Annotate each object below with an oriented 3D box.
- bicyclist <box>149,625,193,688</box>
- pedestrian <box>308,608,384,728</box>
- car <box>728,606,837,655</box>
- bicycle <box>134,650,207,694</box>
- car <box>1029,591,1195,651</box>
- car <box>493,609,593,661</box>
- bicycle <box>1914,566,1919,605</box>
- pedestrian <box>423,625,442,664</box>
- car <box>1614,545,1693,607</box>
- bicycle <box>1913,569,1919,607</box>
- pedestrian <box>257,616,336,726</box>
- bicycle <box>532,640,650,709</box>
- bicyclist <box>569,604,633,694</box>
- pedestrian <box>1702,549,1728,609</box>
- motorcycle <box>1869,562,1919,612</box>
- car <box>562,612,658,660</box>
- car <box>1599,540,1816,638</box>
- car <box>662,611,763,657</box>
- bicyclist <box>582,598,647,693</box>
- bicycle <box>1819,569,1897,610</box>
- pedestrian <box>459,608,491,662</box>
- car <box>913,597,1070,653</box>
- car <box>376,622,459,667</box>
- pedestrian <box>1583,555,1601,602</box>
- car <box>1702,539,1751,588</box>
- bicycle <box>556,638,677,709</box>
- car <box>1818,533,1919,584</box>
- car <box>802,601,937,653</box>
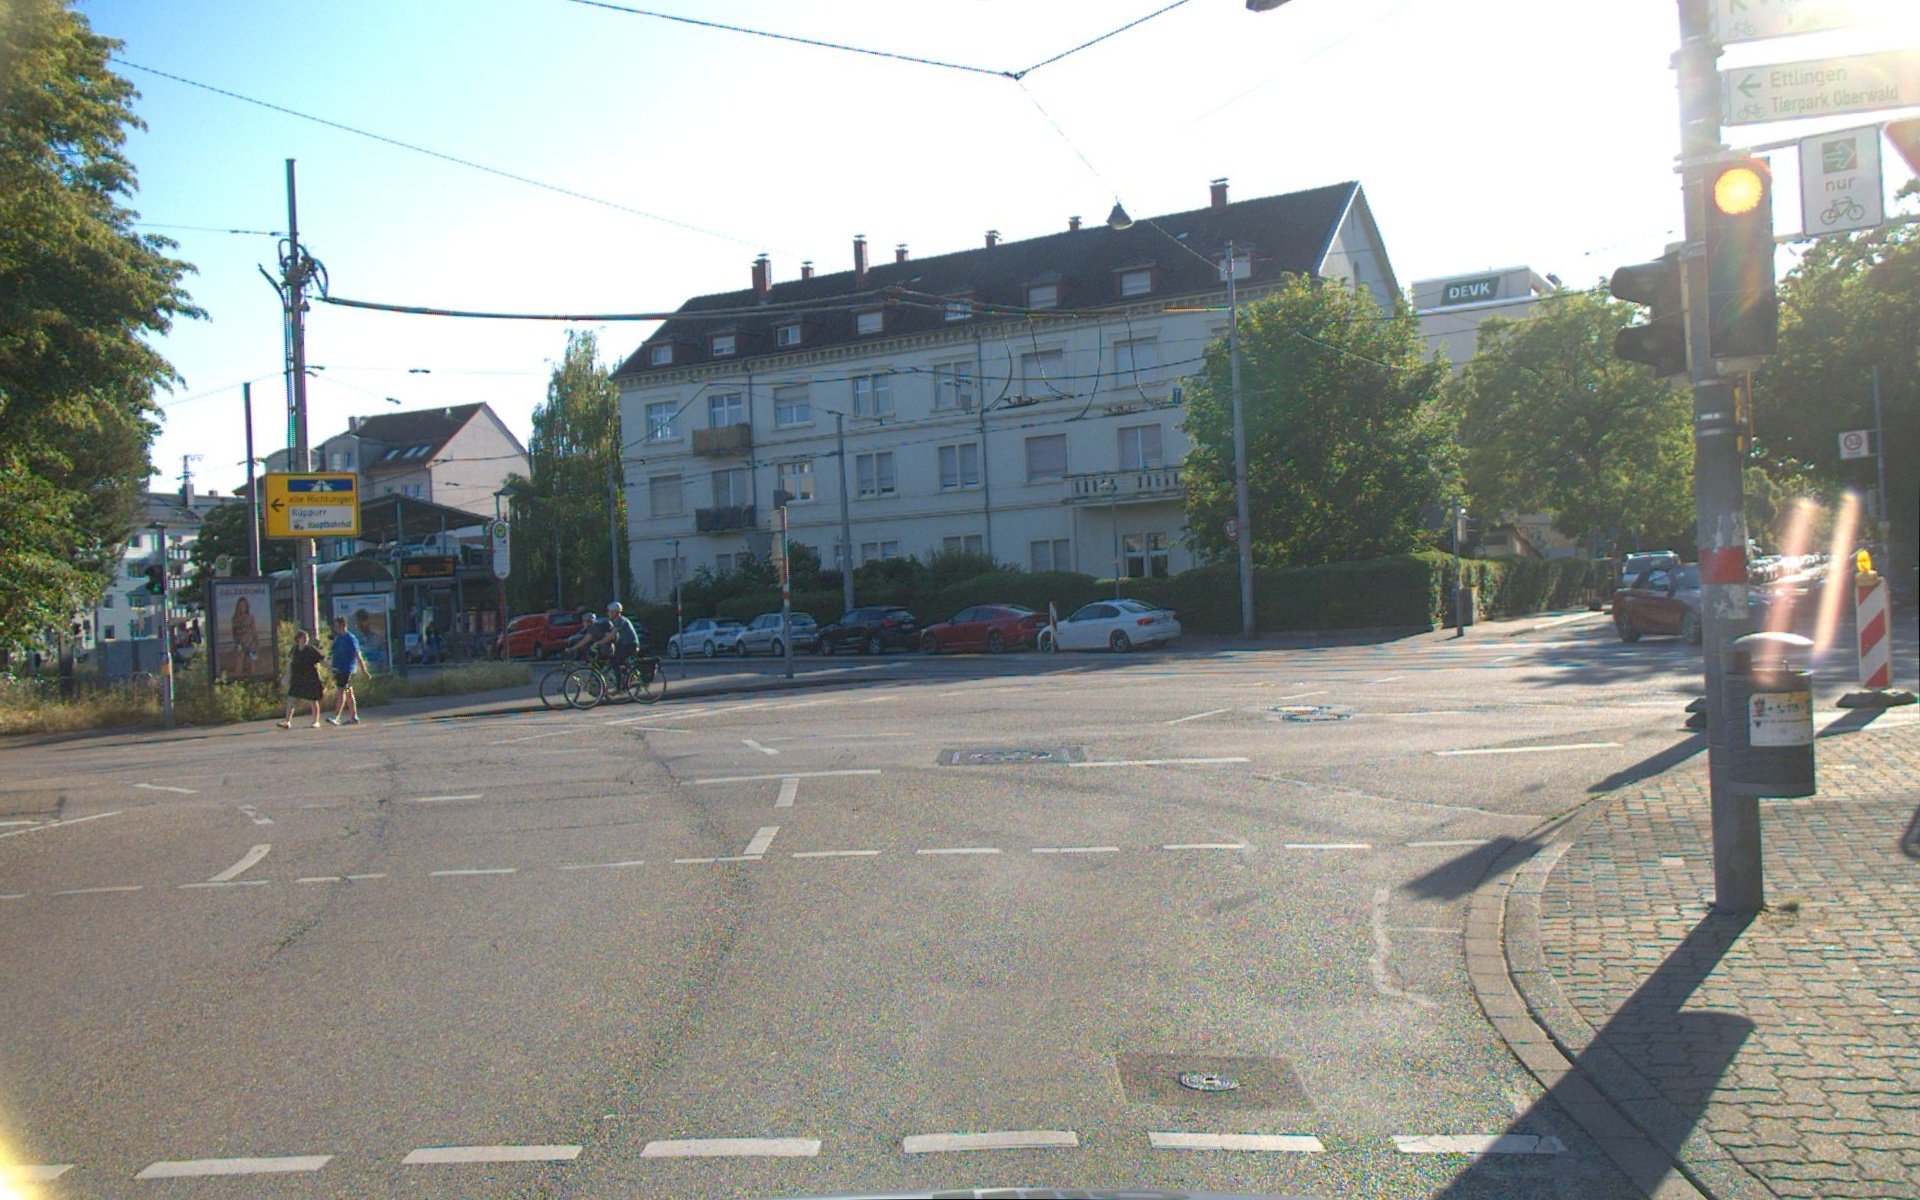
[{"bbox_3d":[-22.028,1.567,46.183,0.654,1.681,0.887,-3,0,12],"label":"bicyclist"},{"bbox_3d":[-10.540,1.149,28.432,0.894,1.958,1.066,-3,0,-6],"label":"pedestrian"},{"bbox_3d":[-6.215,1.086,57.761,1.971,1.472,3.663,-6,2,-41],"label":"car"},{"bbox_3d":[-22.016,2.009,46.158,0.647,1.087,2.021,-3,0,14],"label":"bicycle"},{"bbox_3d":[4.195,0.591,46.174,1.916,1.400,4.426,-6,2,-43],"label":"car"},{"bbox_3d":[-18.167,1.522,71.944,2.039,1.995,5.073,-6,2,-41],"label":"car"},{"bbox_3d":[24.368,-0.400,40.497,1.691,0.949,0.561,-3,0,29],"label":"bicycle"},{"bbox_3d":[-21.089,1.793,66.118,0.560,1.527,0.672,-3,0,-29],"label":"pedestrian"},{"bbox_3d":[25.343,-0.870,60.329,2.308,2.049,5.306,-3,0,26],"label":"car"},{"bbox_3d":[24.728,-0.345,41.176,1.691,0.949,0.561,-3,0,29],"label":"bicycle"},{"bbox_3d":[-11.271,1.195,28.129,0.894,1.777,1.066,-3,0,-6],"label":"pedestrian"},{"bbox_3d":[-6.608,1.325,29.686,1.975,1.087,0.662,-3,0,-8],"label":"bicycle"},{"bbox_3d":[-6.451,0.871,29.718,1.015,1.558,0.659,-3,0,-9],"label":"bicyclist"},{"bbox_3d":[24.098,-0.681,52.785,0.648,1.871,0.682,-3,0,28],"label":"pedestrian"},{"bbox_3d":[22.930,-0.330,39.587,1.912,1.128,0.837,-3,0,24],"label":"motorcycle"},{"bbox_3d":[-14.196,1.479,66.964,1.830,1.696,4.304,-6,2,-41],"label":"car"},{"bbox_3d":[13.578,-0.155,30.359,1.855,1.591,4.391,-2,-1,-1],"label":"car"},{"bbox_3d":[-9.179,1.274,61.207,1.830,1.472,3.899,-6,2,-41],"label":"car"},{"bbox_3d":[-5.959,0.774,28.554,1.015,1.558,0.696,-3,0,-11],"label":"bicyclist"},{"bbox_3d":[22.770,-0.263,41.976,1.691,0.949,0.671,-3,0,29],"label":"bicycle"},{"bbox_3d":[-19.116,1.380,65.210,0.914,2.049,0.759,-3,0,-37],"label":"pedestrian"},{"bbox_3d":[0.910,0.769,50.118,4.625,1.400,1.974,-3,2,44],"label":"car"},{"bbox_3d":[-27.195,2.235,82.779,2.039,1.995,5.073,-6,2,-41],"label":"car"},{"bbox_3d":[24.139,-0.819,63.177,0.567,1.761,0.608,-3,0,23],"label":"pedestrian"},{"bbox_3d":[43.107,-2.034,92.939,2.308,2.558,5.306,-3,0,26],"label":"car"},{"bbox_3d":[-5.916,1.255,28.552,1.977,1.087,0.662,-3,0,-12],"label":"bicycle"},{"bbox_3d":[40.812,-1.829,73.114,4.990,1.958,2.360,-3,-2,26],"label":"car"},{"bbox_3d":[-3.035,0.912,54.565,1.970,1.472,4.634,-6,2,-41],"label":"car"}]
